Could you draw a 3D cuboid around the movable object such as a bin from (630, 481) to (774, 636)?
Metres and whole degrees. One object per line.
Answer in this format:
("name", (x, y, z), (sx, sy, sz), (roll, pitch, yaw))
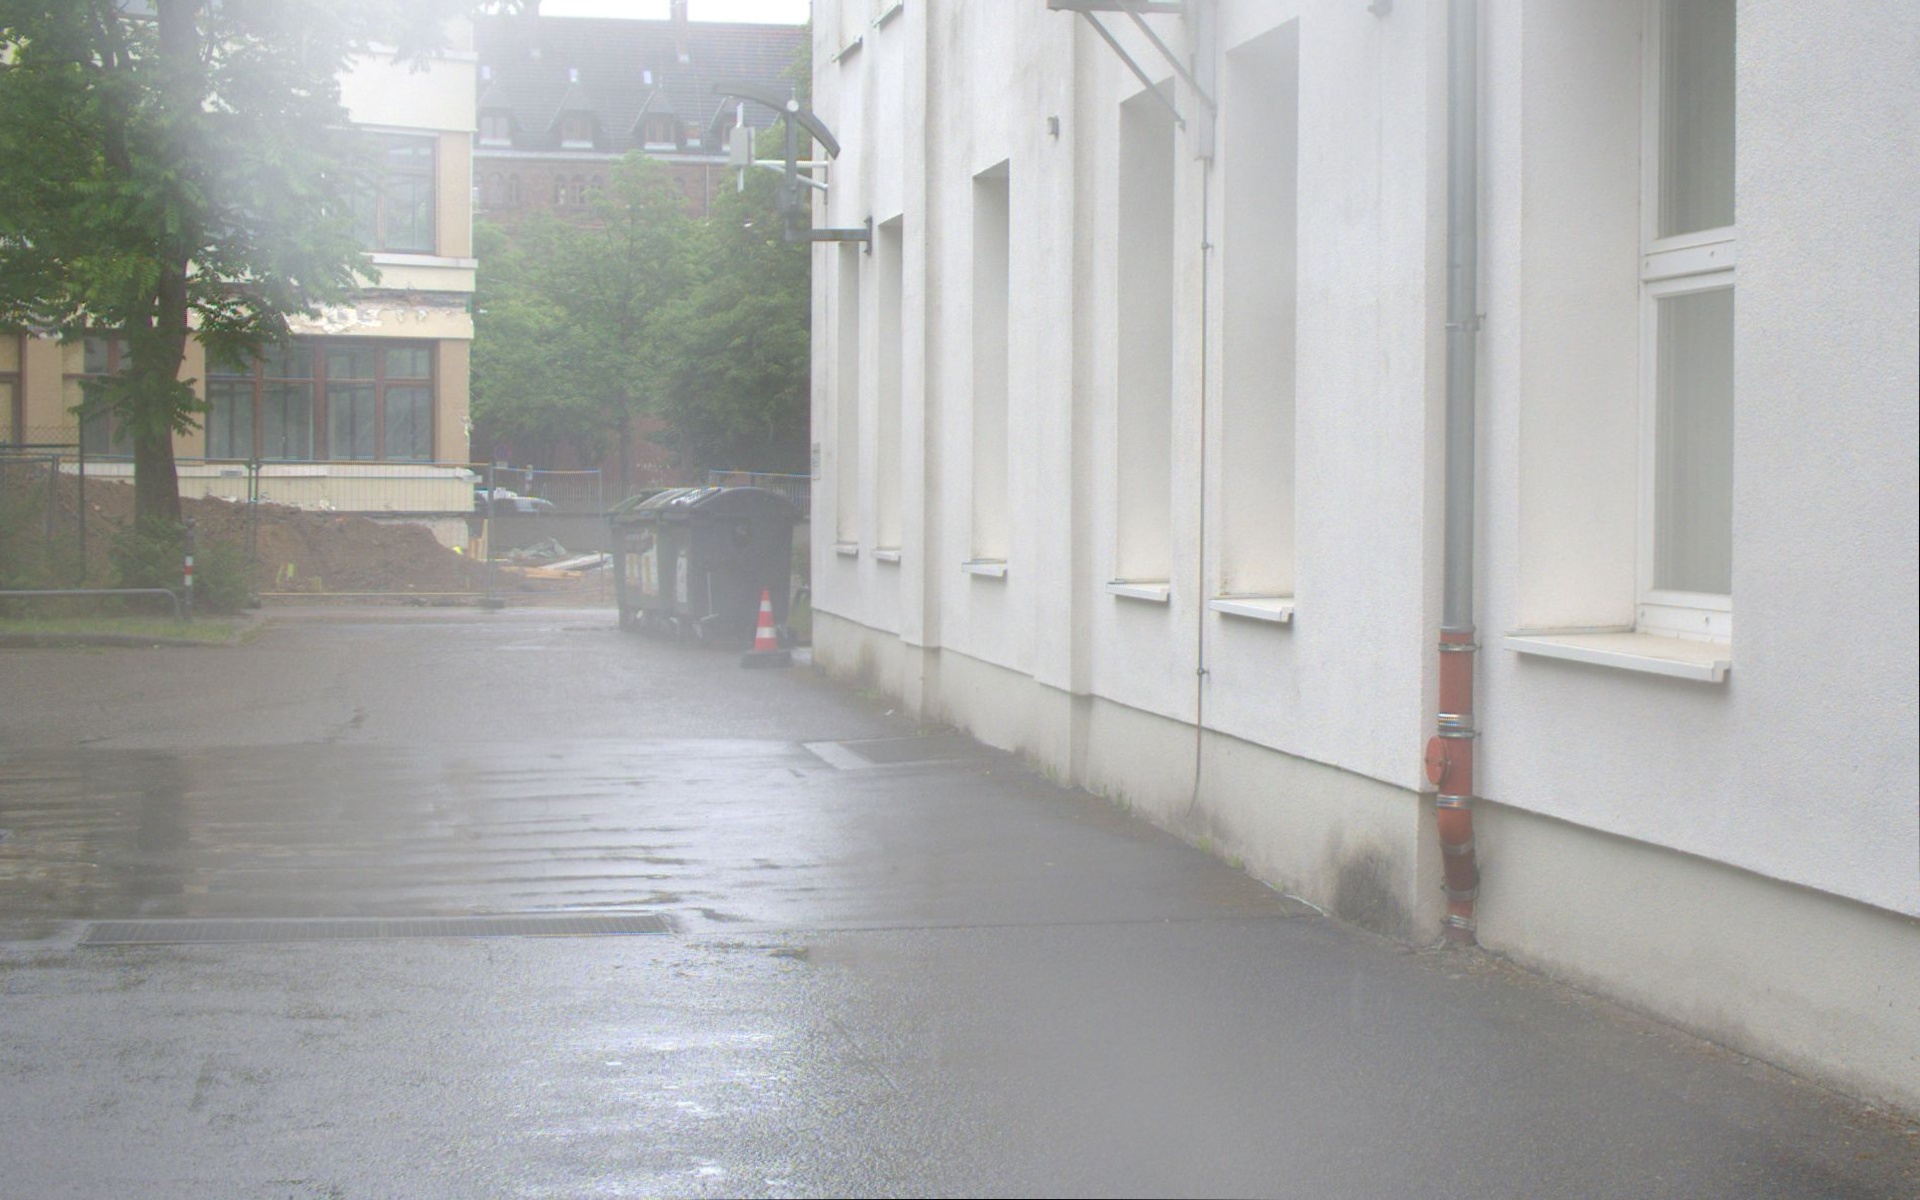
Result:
("movable object such as a bin", (-2.467, -0.382, 32.705), (1.214, 1.432, 1.294), (1, 0, -11))

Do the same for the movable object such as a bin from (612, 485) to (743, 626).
("movable object such as a bin", (-2.940, -0.449, 35.677), (1.214, 1.432, 1.259), (1, 0, -11))

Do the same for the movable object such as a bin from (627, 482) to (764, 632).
("movable object such as a bin", (-2.650, -0.418, 34.330), (1.214, 1.463, 1.236), (1, 0, -11))

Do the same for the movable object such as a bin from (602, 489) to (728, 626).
("movable object such as a bin", (-3.191, -0.446, 37.034), (1.214, 1.432, 1.259), (1, 0, -11))

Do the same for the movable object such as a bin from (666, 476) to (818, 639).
("movable object such as a bin", (-1.982, -0.372, 31.070), (1.214, 1.432, 1.236), (1, 0, -11))

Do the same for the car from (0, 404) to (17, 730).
("car", (-8.250, -0.173, 20.603), (4.779, 2.006, 2.001), (0, 3, -8))
